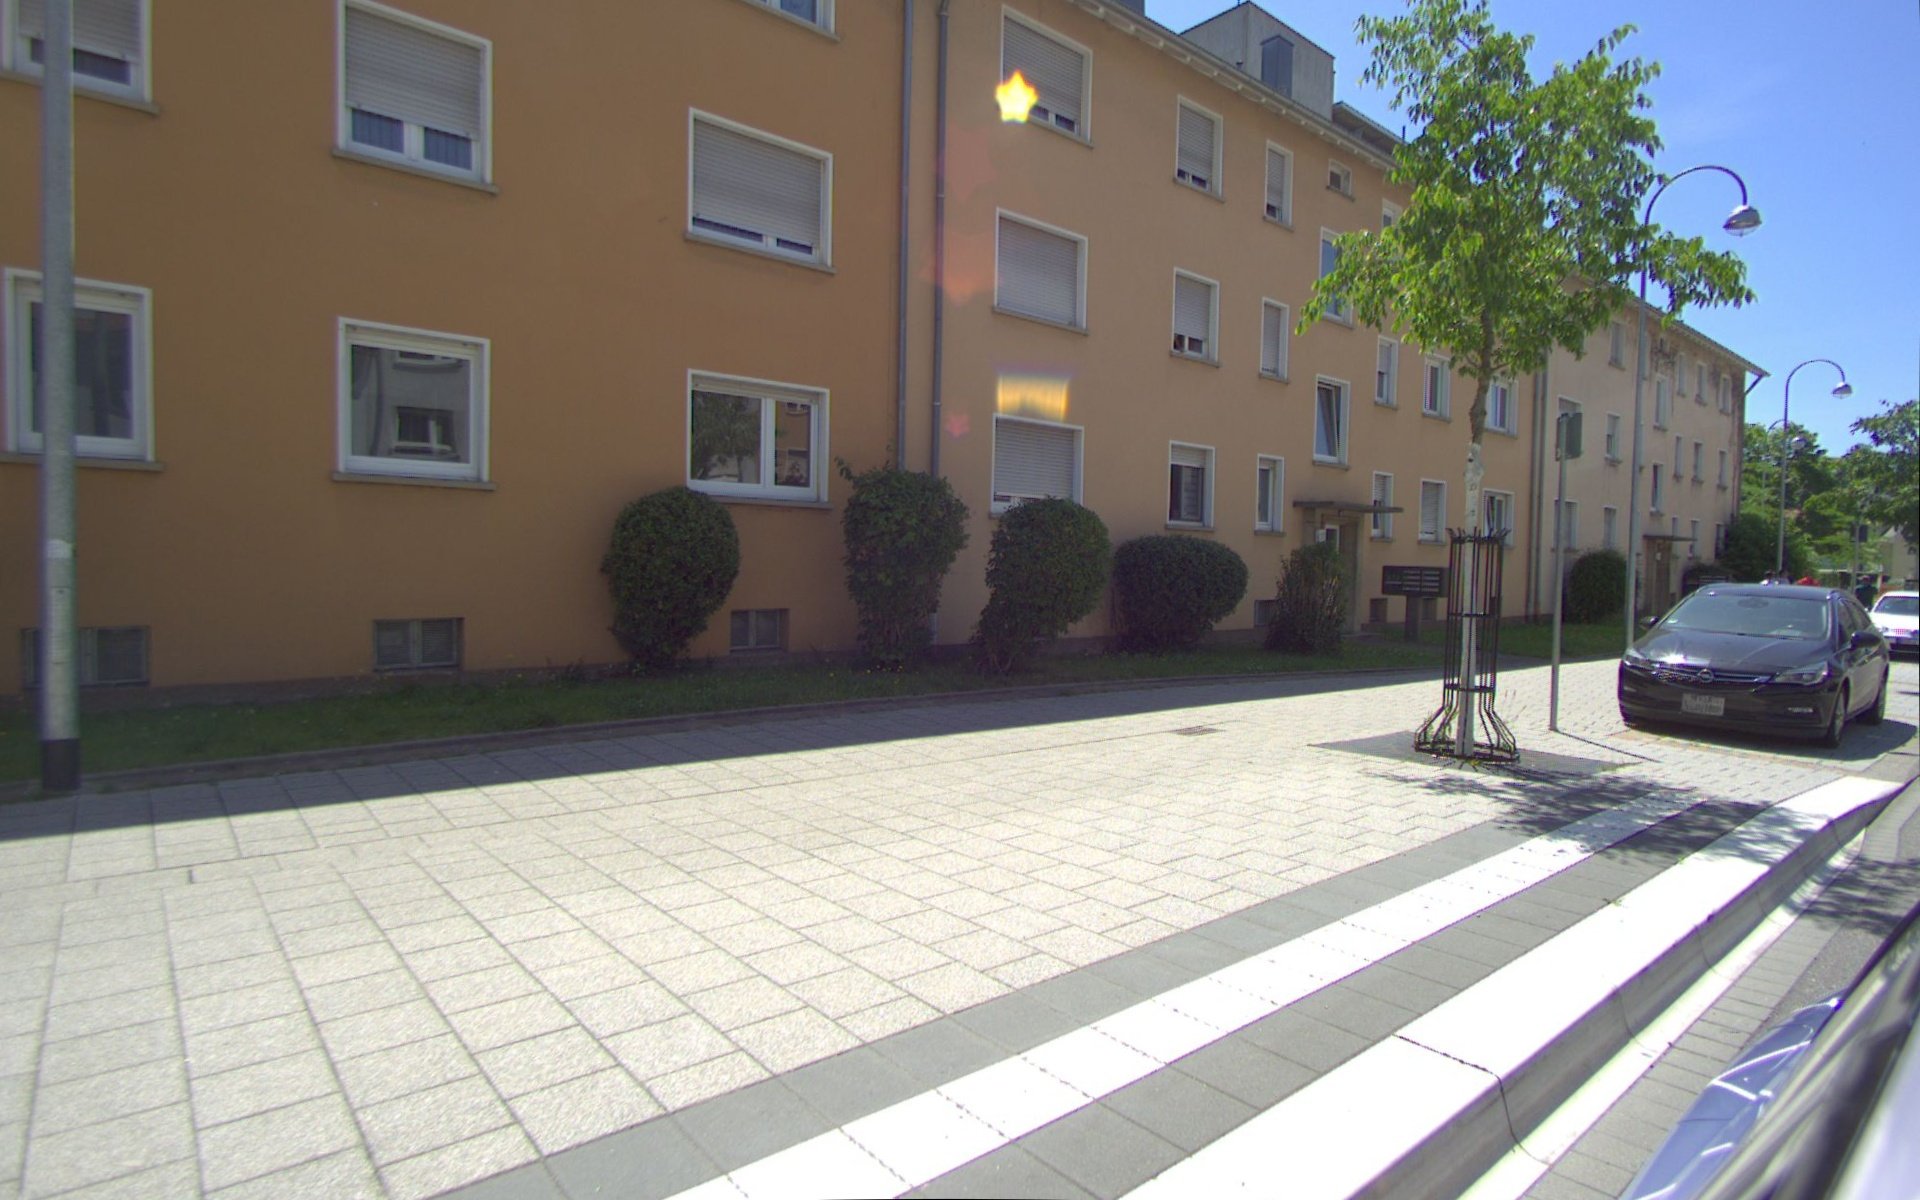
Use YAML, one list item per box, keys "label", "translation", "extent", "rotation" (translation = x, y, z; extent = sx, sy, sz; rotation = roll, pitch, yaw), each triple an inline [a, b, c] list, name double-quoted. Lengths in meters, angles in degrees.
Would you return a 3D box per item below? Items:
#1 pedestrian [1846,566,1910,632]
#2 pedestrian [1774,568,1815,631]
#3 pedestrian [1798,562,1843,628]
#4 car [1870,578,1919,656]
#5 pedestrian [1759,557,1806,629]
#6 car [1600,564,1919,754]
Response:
- label: "pedestrian"
  translation: [26.012, -0.054, 28.683]
  extent: [1.172, 1.753, 1.172]
  rotation: [-1, 6, -45]
- label: "pedestrian"
  translation: [24.891, -0.030, 30.176]
  extent: [0.992, 1.800, 0.794]
  rotation: [0, 2, -44]
- label: "pedestrian"
  translation: [24.989, -0.160, 29.374]
  extent: [0.989, 1.833, 0.789]
  rotation: [0, 4, -44]
- label: "car"
  translation: [21.050, 0.336, 21.814]
  extent: [4.434, 1.494, 1.815]
  rotation: [-2, 5, -45]
- label: "pedestrian"
  translation: [22.128, -0.201, 27.219]
  extent: [0.968, 1.876, 0.821]
  rotation: [0, 2, -44]
- label: "car"
  translation: [8.795, 0.466, 10.866]
  extent: [4.975, 1.522, 1.838]
  rotation: [0, 4, -41]
